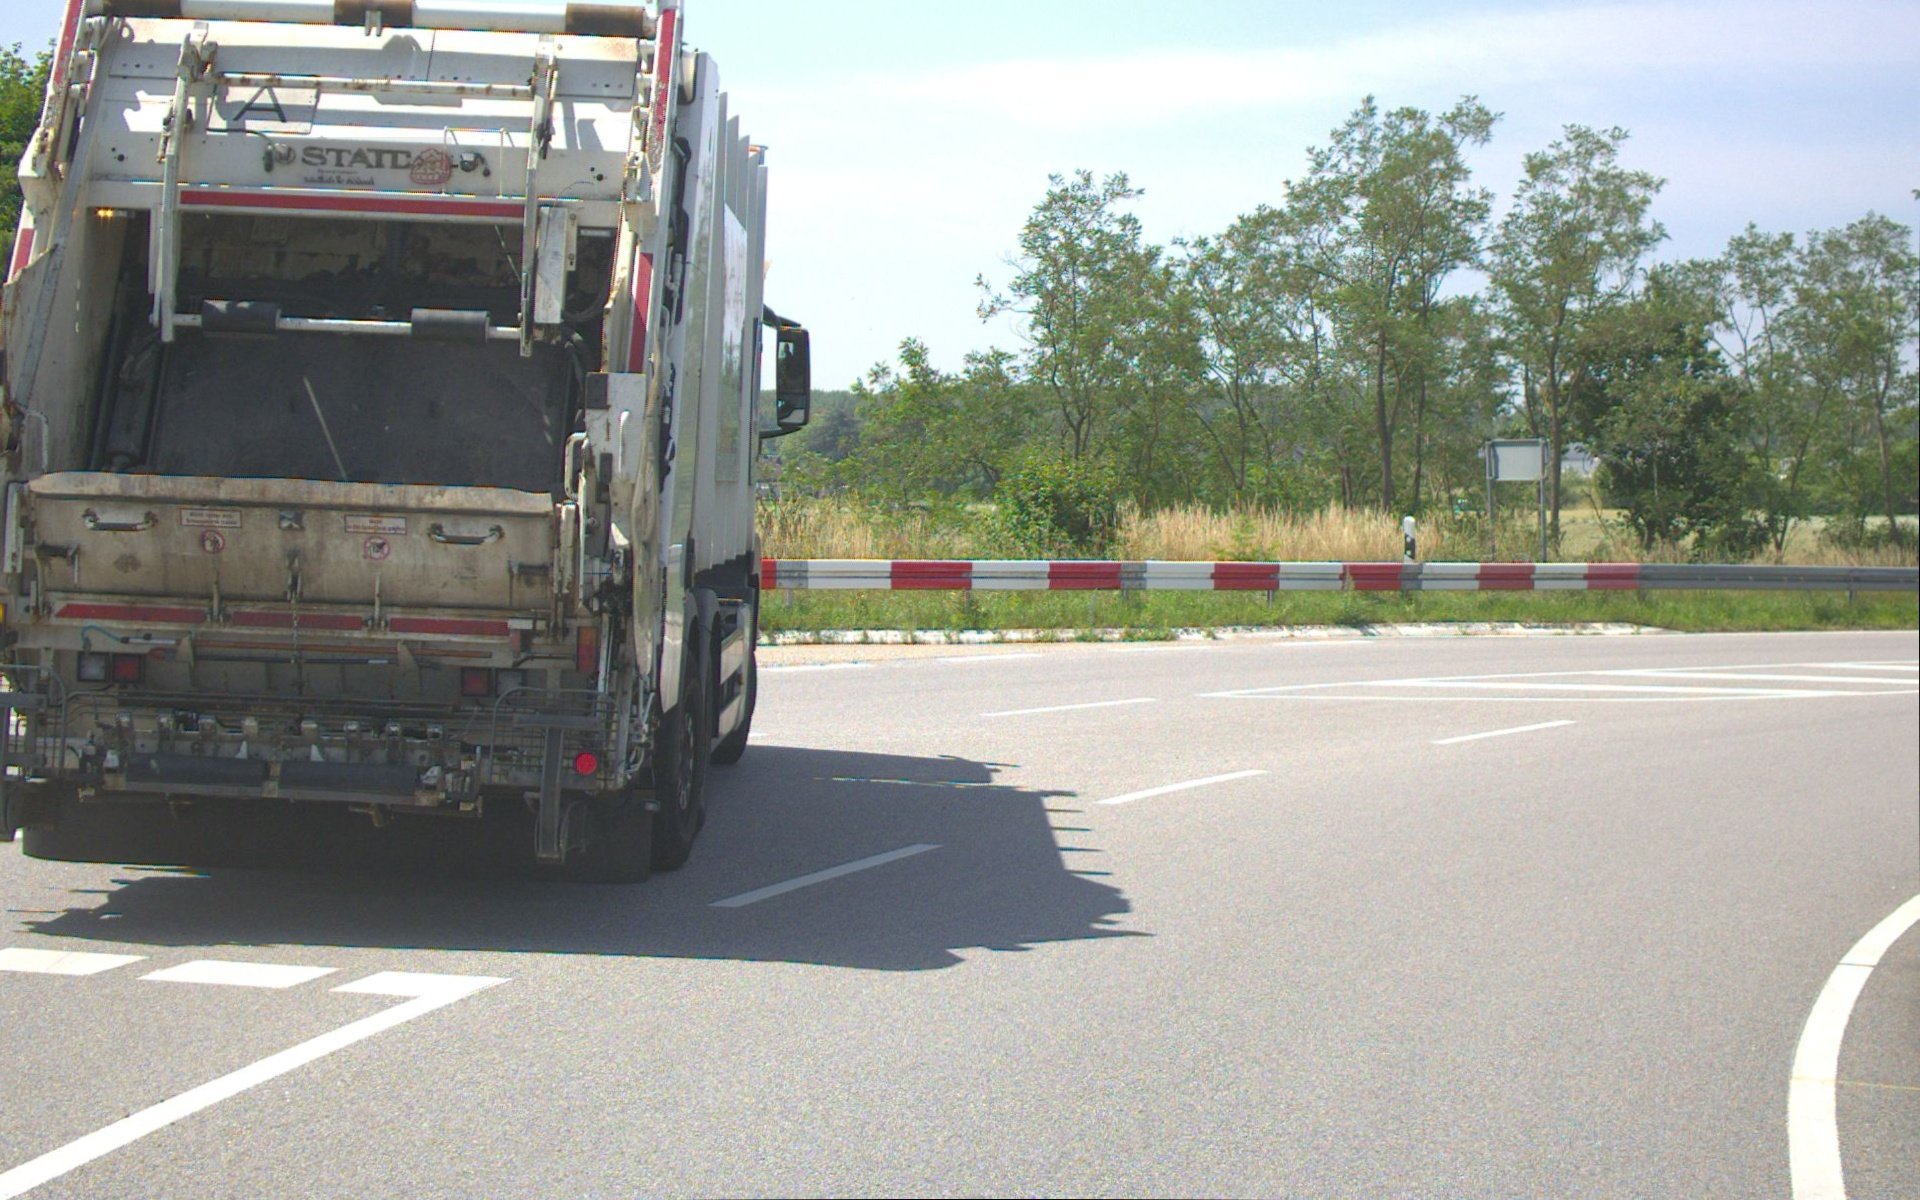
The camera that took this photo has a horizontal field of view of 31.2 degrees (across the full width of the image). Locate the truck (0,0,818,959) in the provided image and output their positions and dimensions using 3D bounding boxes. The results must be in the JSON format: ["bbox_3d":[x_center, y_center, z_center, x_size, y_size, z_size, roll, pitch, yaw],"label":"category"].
[{"bbox_3d":[-2.375,-0.826,16.680,2.813,3.656,9.949,2,2,0],"label":"truck"}]
